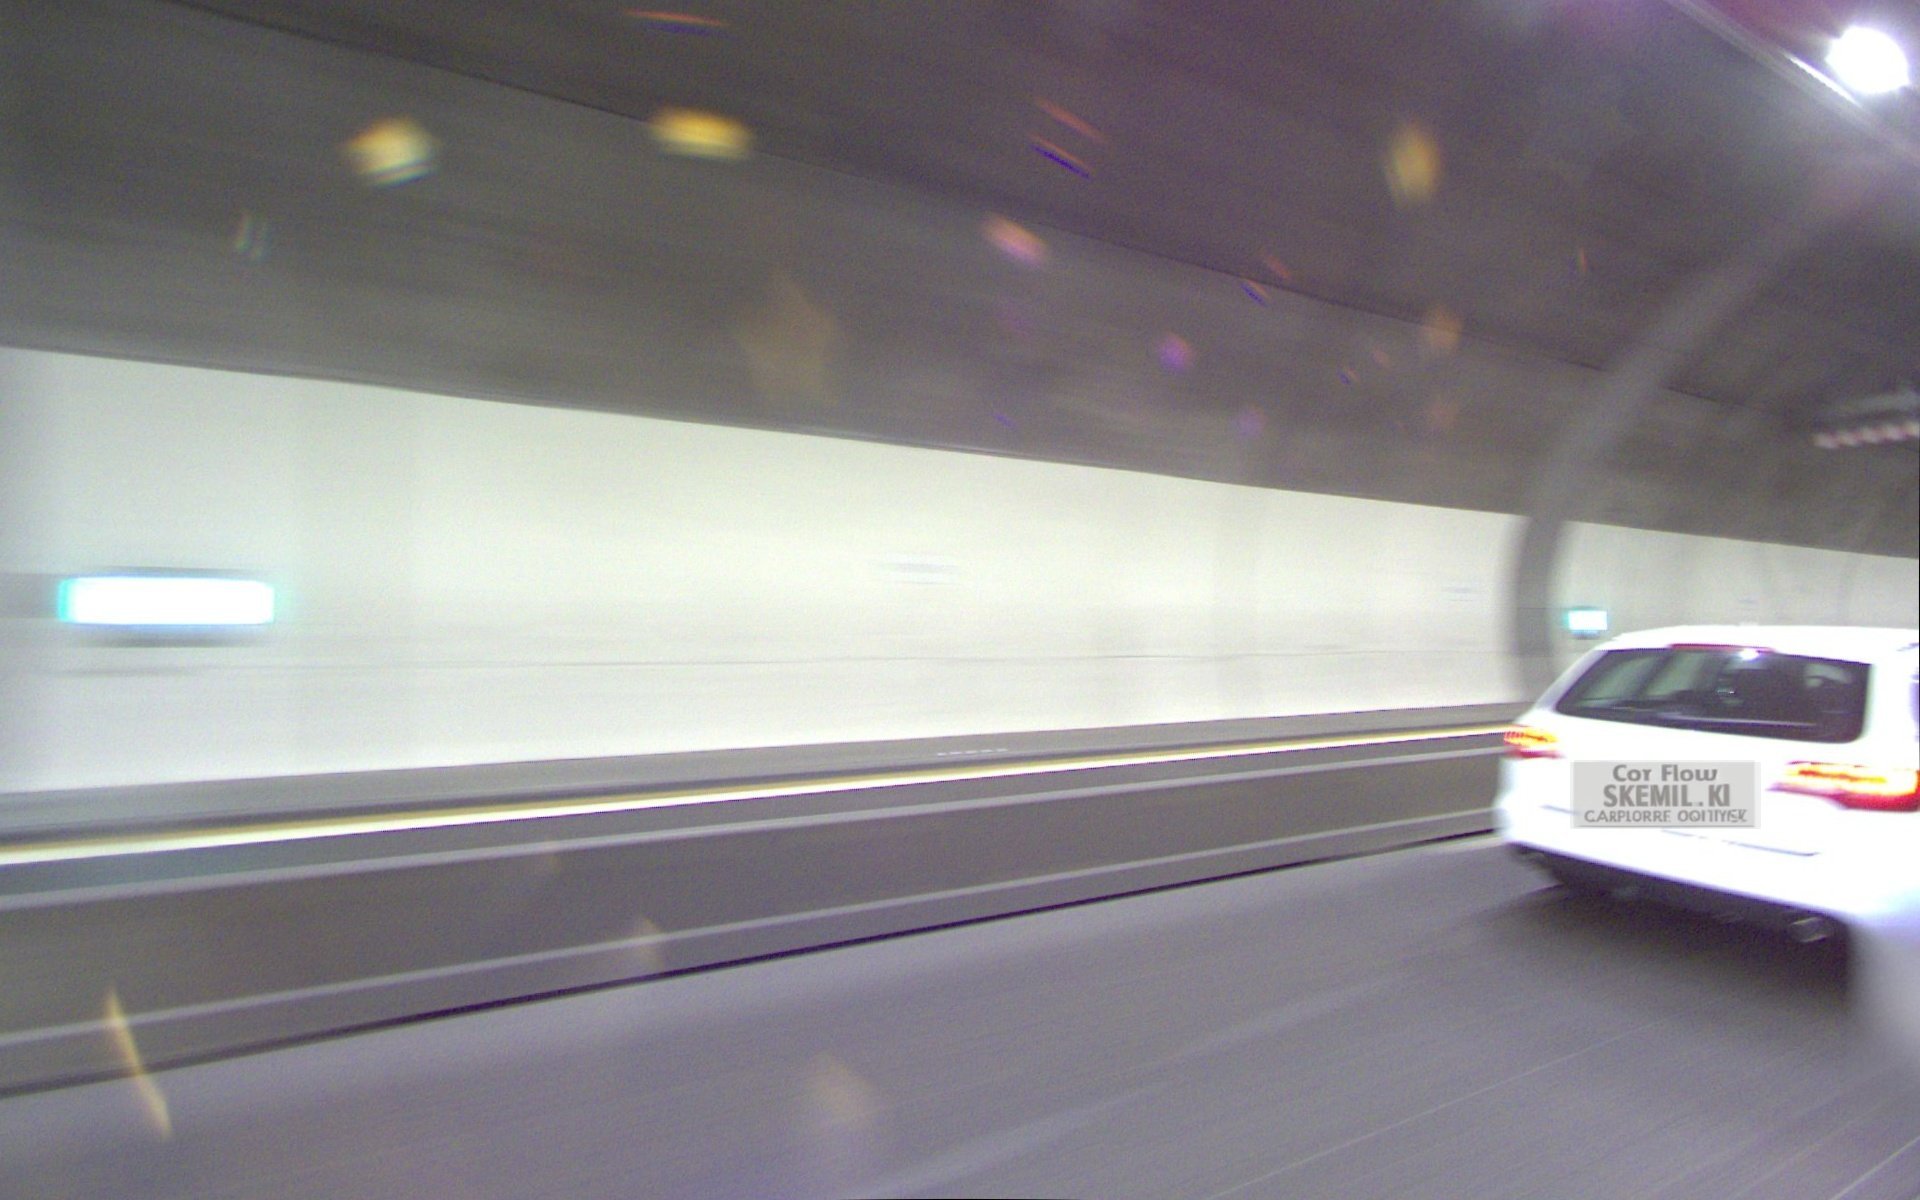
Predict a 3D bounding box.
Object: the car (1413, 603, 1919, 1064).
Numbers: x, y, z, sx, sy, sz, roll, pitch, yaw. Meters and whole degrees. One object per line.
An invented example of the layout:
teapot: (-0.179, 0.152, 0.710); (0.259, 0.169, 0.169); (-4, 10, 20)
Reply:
car: (4.822, 0.845, 5.394); (4.886, 1.504, 1.894); (2, 0, -31)
